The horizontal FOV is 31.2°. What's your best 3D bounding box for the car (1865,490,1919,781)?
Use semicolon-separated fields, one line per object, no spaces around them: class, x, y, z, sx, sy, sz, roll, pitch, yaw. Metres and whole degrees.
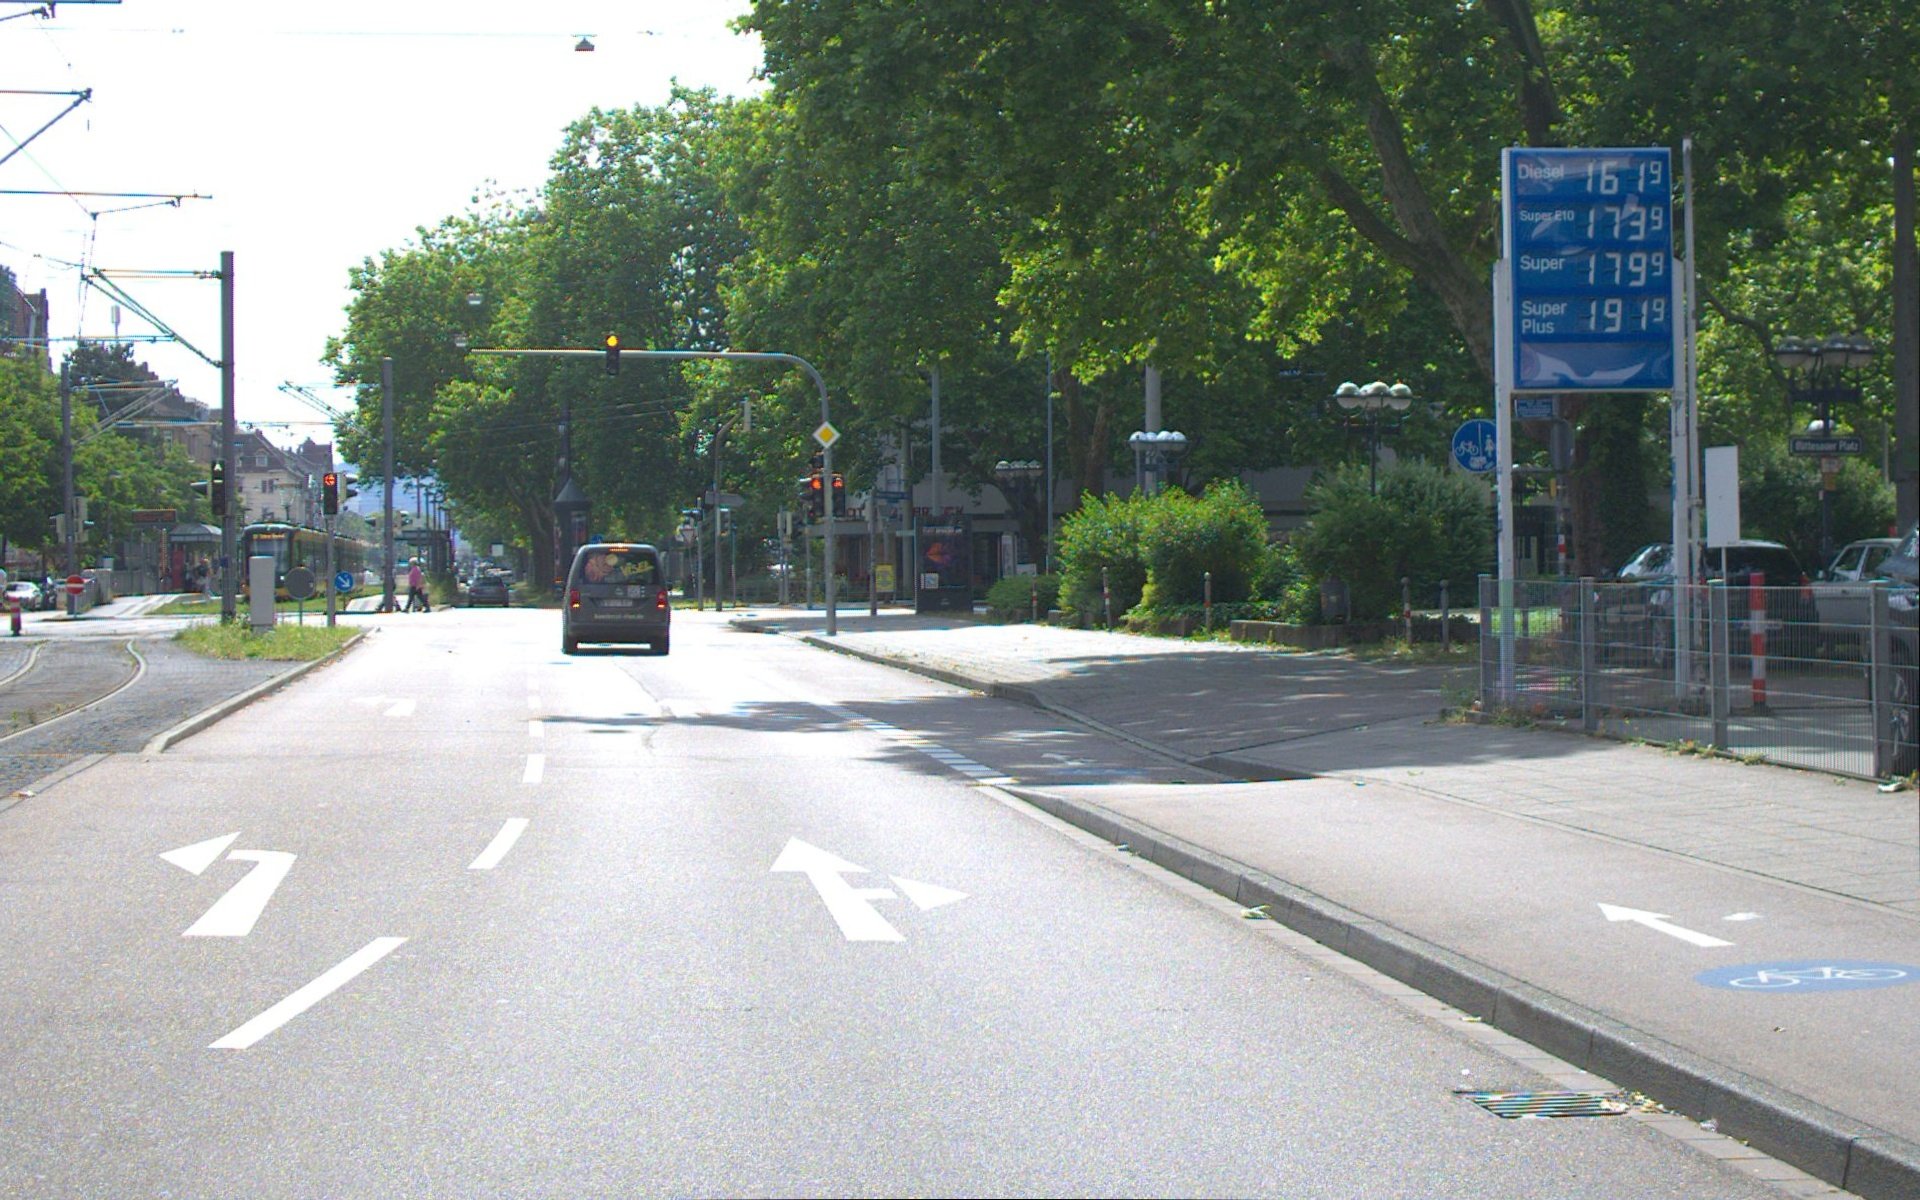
car;6.323;0.212;17.460;1.805;1.597;4.583;0;1;-6

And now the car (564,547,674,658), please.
car;-5.810;0.014;58.336;1.750;1.802;3.475;1;1;-7

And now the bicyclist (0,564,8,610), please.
bicyclist;-31.623;-0.424;112.624;0.778;1.506;1.001;-1;1;-18

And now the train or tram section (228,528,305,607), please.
train or tram section;-30.393;-1.457;151.005;2.240;3.320;12.974;-1;1;-7

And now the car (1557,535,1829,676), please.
car;8.096;0.025;38.327;1.648;1.465;4.044;-1;1;-8

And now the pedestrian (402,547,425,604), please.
pedestrian;-16.989;-0.767;106.936;0.659;1.778;0.660;-1;1;-7

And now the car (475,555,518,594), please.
car;-21.163;-1.170;157.069;1.862;1.747;4.001;-1;1;-7

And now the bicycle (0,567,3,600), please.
bicycle;-31.862;-0.547;112.623;0.894;1.045;2.310;-1;1;-17

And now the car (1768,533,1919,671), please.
car;10.675;-0.010;38.497;1.648;1.465;4.044;-1;1;-11
